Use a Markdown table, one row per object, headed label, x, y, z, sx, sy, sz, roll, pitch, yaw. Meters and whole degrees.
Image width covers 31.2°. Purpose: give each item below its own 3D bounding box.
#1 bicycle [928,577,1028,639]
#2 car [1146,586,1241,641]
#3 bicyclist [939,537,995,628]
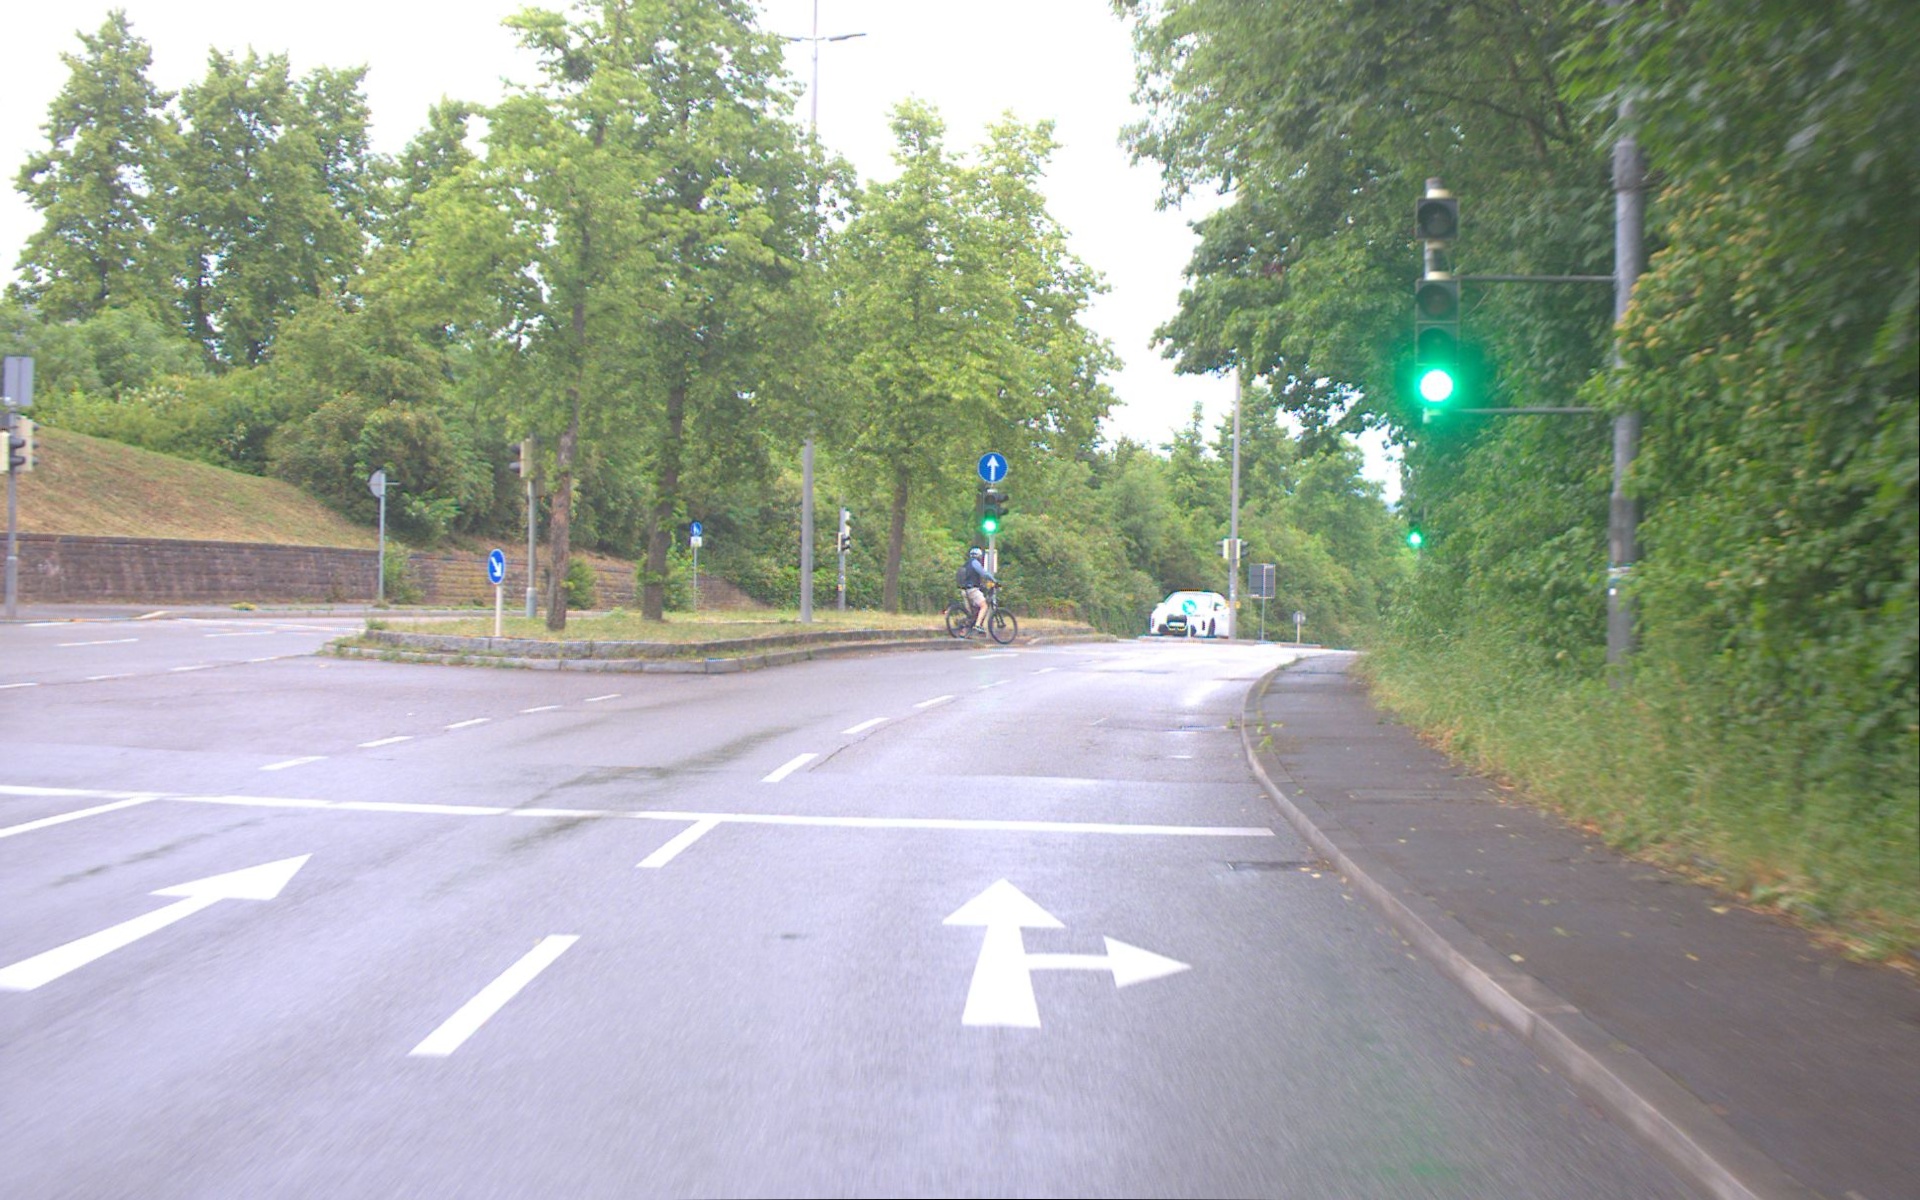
| label | x | y | z | sx | sy | sz | roll | pitch | yaw |
| --- | --- | --- | --- | --- | --- | --- | --- | --- | --- |
| bicycle | 0.363 | 0.156 | 67.364 | 2.134 | 1.139 | 0.554 | 2 | 0 | -44 |
| car | 7.713 | 0.466 | 113.038 | 1.947 | 1.630 | 5.000 | 2 | -1 | 17 |
| bicyclist | 0.131 | -0.340 | 67.395 | 0.799 | 1.746 | 0.725 | 3 | -4 | -44 |
